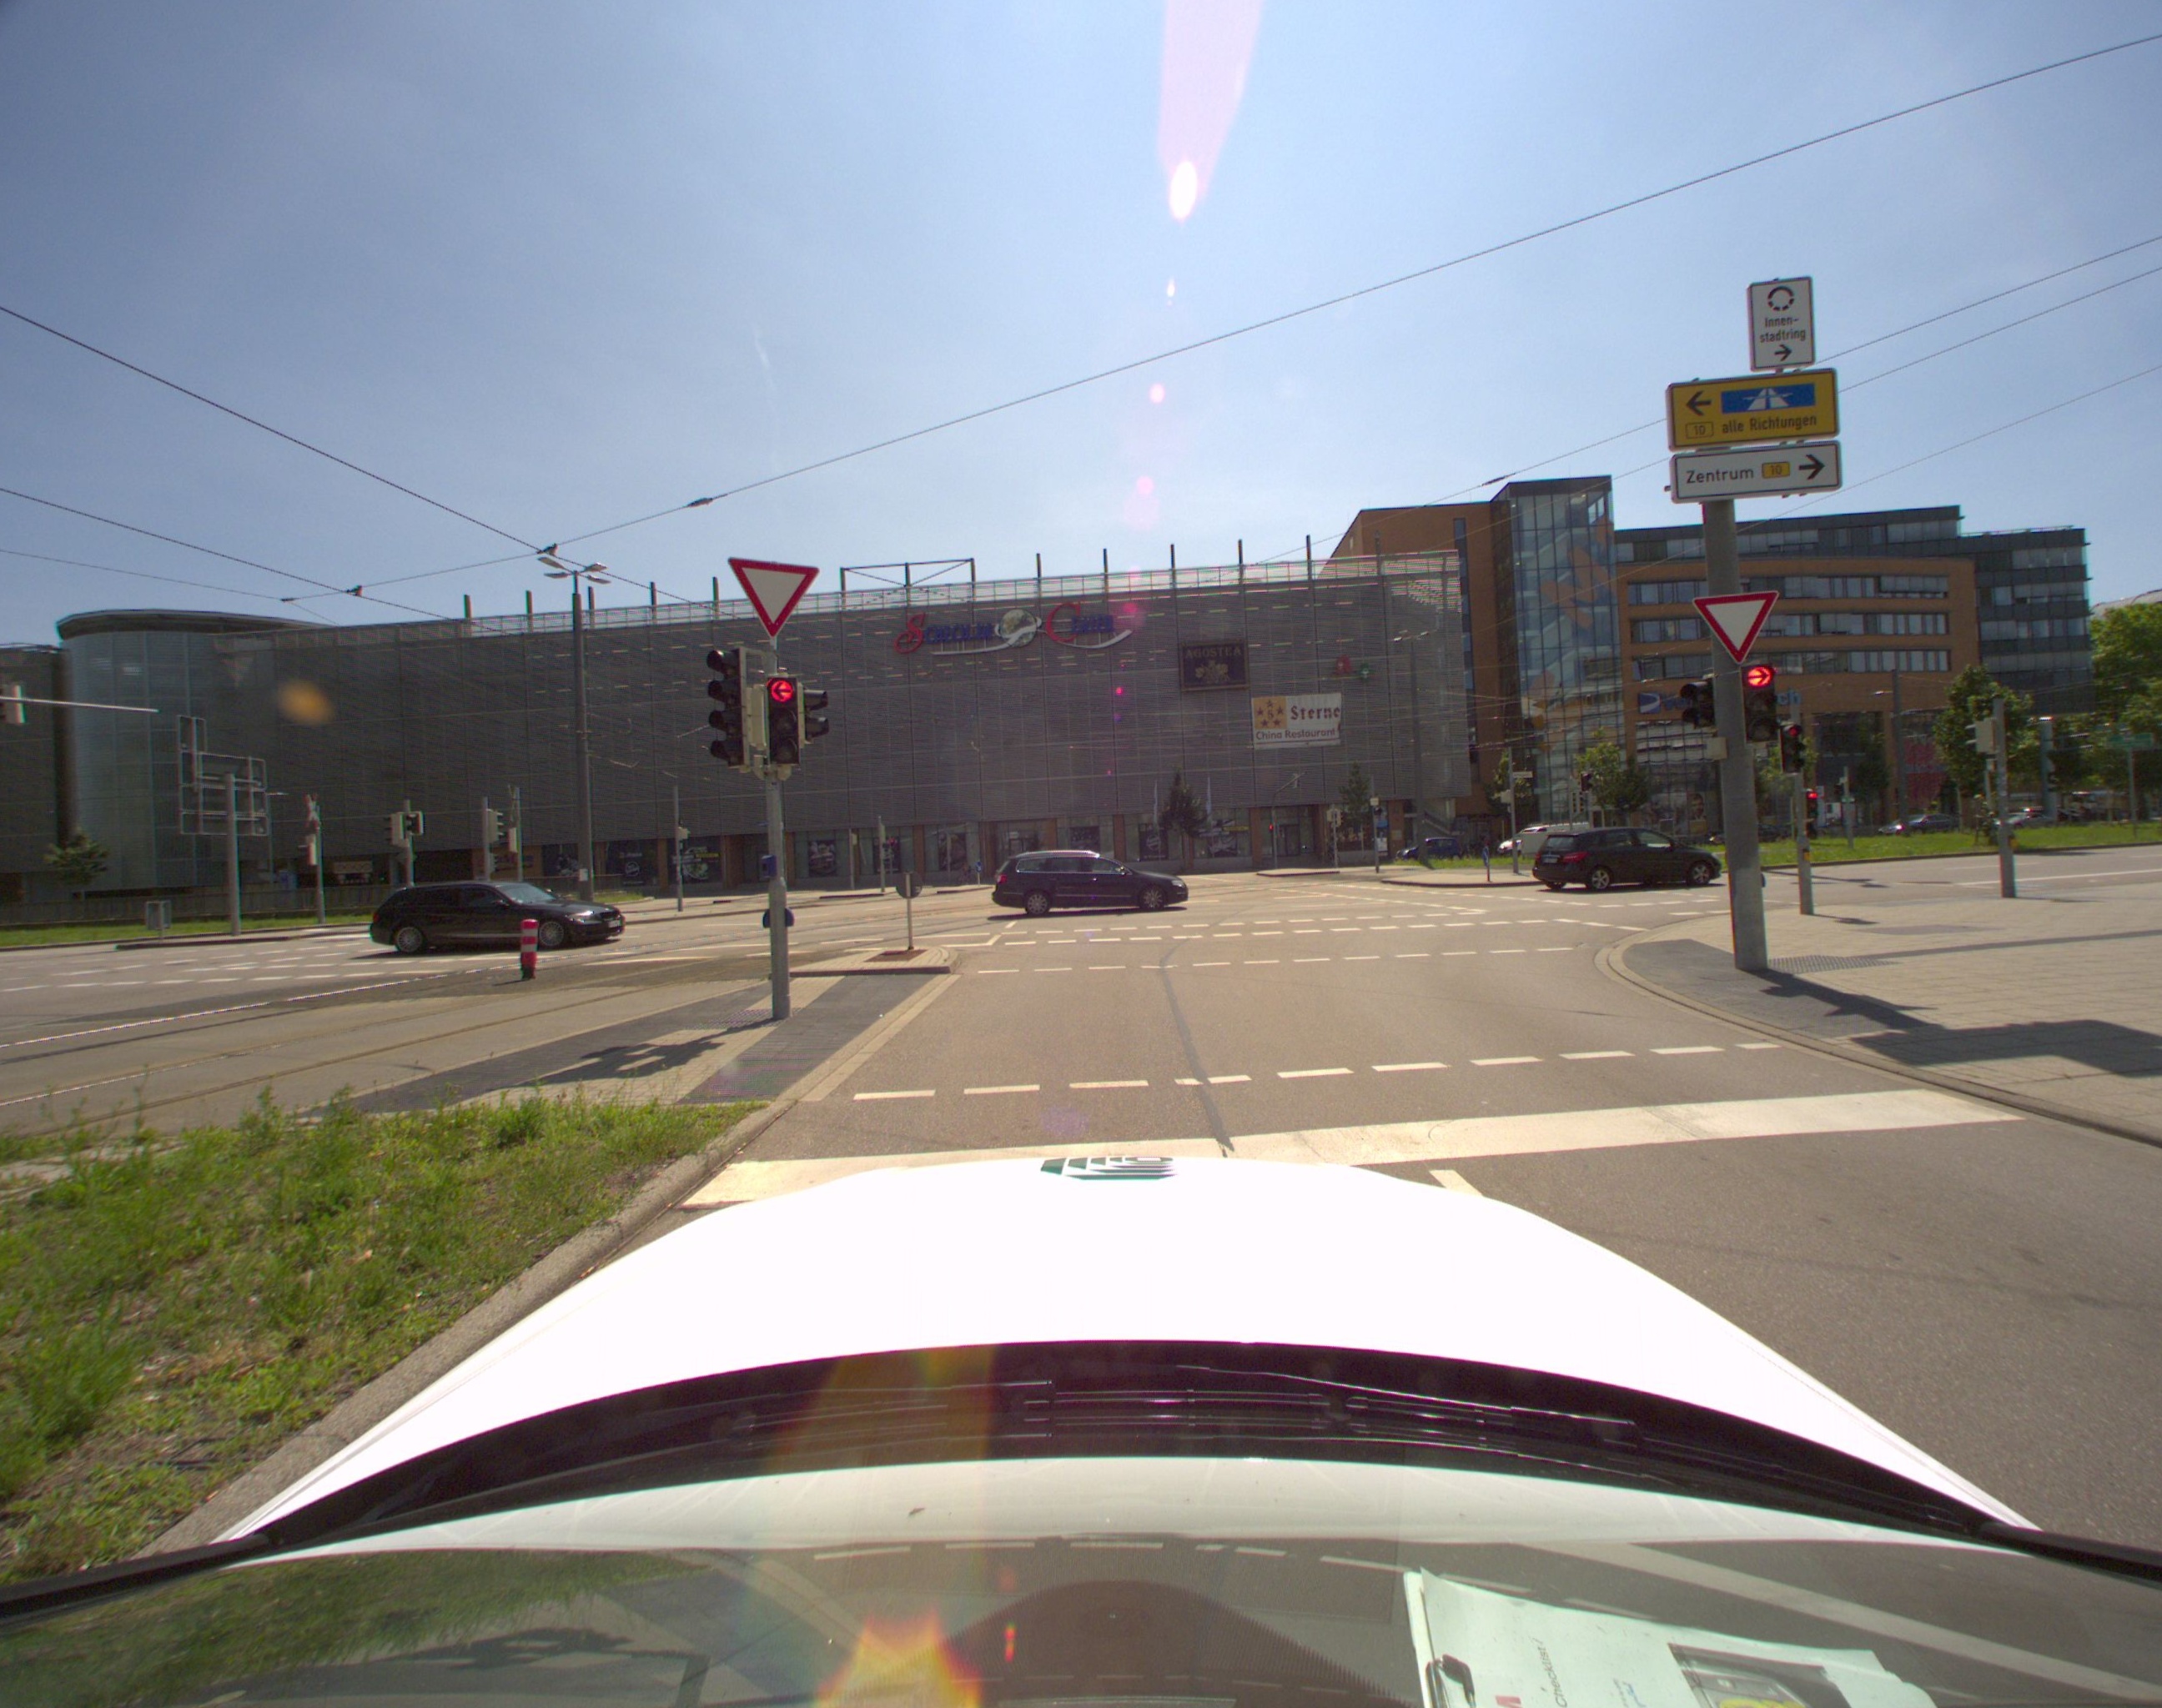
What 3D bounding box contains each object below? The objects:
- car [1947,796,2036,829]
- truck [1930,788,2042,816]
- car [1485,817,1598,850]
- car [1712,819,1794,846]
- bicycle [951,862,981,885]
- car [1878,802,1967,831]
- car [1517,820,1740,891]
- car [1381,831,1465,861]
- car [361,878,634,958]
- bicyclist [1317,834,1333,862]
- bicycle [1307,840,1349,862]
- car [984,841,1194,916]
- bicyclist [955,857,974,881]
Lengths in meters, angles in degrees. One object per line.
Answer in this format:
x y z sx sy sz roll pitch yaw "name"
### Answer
60.179 -2.716 53.862 3.984 2.013 1.995 -2 0 -8 "car"
111.248 -6.375 100.375 1.999 2.809 9.184 -2 1 -18 "truck"
26.315 -1.145 46.643 5.450 1.668 1.998 -2 0 -3 "car"
41.943 -1.353 50.845 3.984 1.530 1.680 -2 0 -8 "car"
-7.850 1.332 55.744 1.055 1.390 3.032 -2 1 10 "bicycle"
50.491 -2.256 48.890 3.812 1.574 1.629 -2 0 -3 "car"
13.707 0.019 20.566 4.308 1.553 1.999 -2 0 -2 "car"
19.358 -0.446 46.202 3.973 1.538 1.881 -2 0 0 "car"
-11.769 1.270 16.631 4.292 1.342 1.635 -2 0 -1 "car"
17.906 -0.446 59.757 0.908 2.013 0.749 -2 0 4 "bicyclist"
18.111 -0.234 59.796 2.836 1.557 0.706 -2 0 5 "bicycle"
0.163 0.552 19.950 4.845 1.580 1.998 -2 0 -4 "car"
-7.920 1.024 55.394 1.033 1.571 0.779 -2 0 9 "bicyclist"
